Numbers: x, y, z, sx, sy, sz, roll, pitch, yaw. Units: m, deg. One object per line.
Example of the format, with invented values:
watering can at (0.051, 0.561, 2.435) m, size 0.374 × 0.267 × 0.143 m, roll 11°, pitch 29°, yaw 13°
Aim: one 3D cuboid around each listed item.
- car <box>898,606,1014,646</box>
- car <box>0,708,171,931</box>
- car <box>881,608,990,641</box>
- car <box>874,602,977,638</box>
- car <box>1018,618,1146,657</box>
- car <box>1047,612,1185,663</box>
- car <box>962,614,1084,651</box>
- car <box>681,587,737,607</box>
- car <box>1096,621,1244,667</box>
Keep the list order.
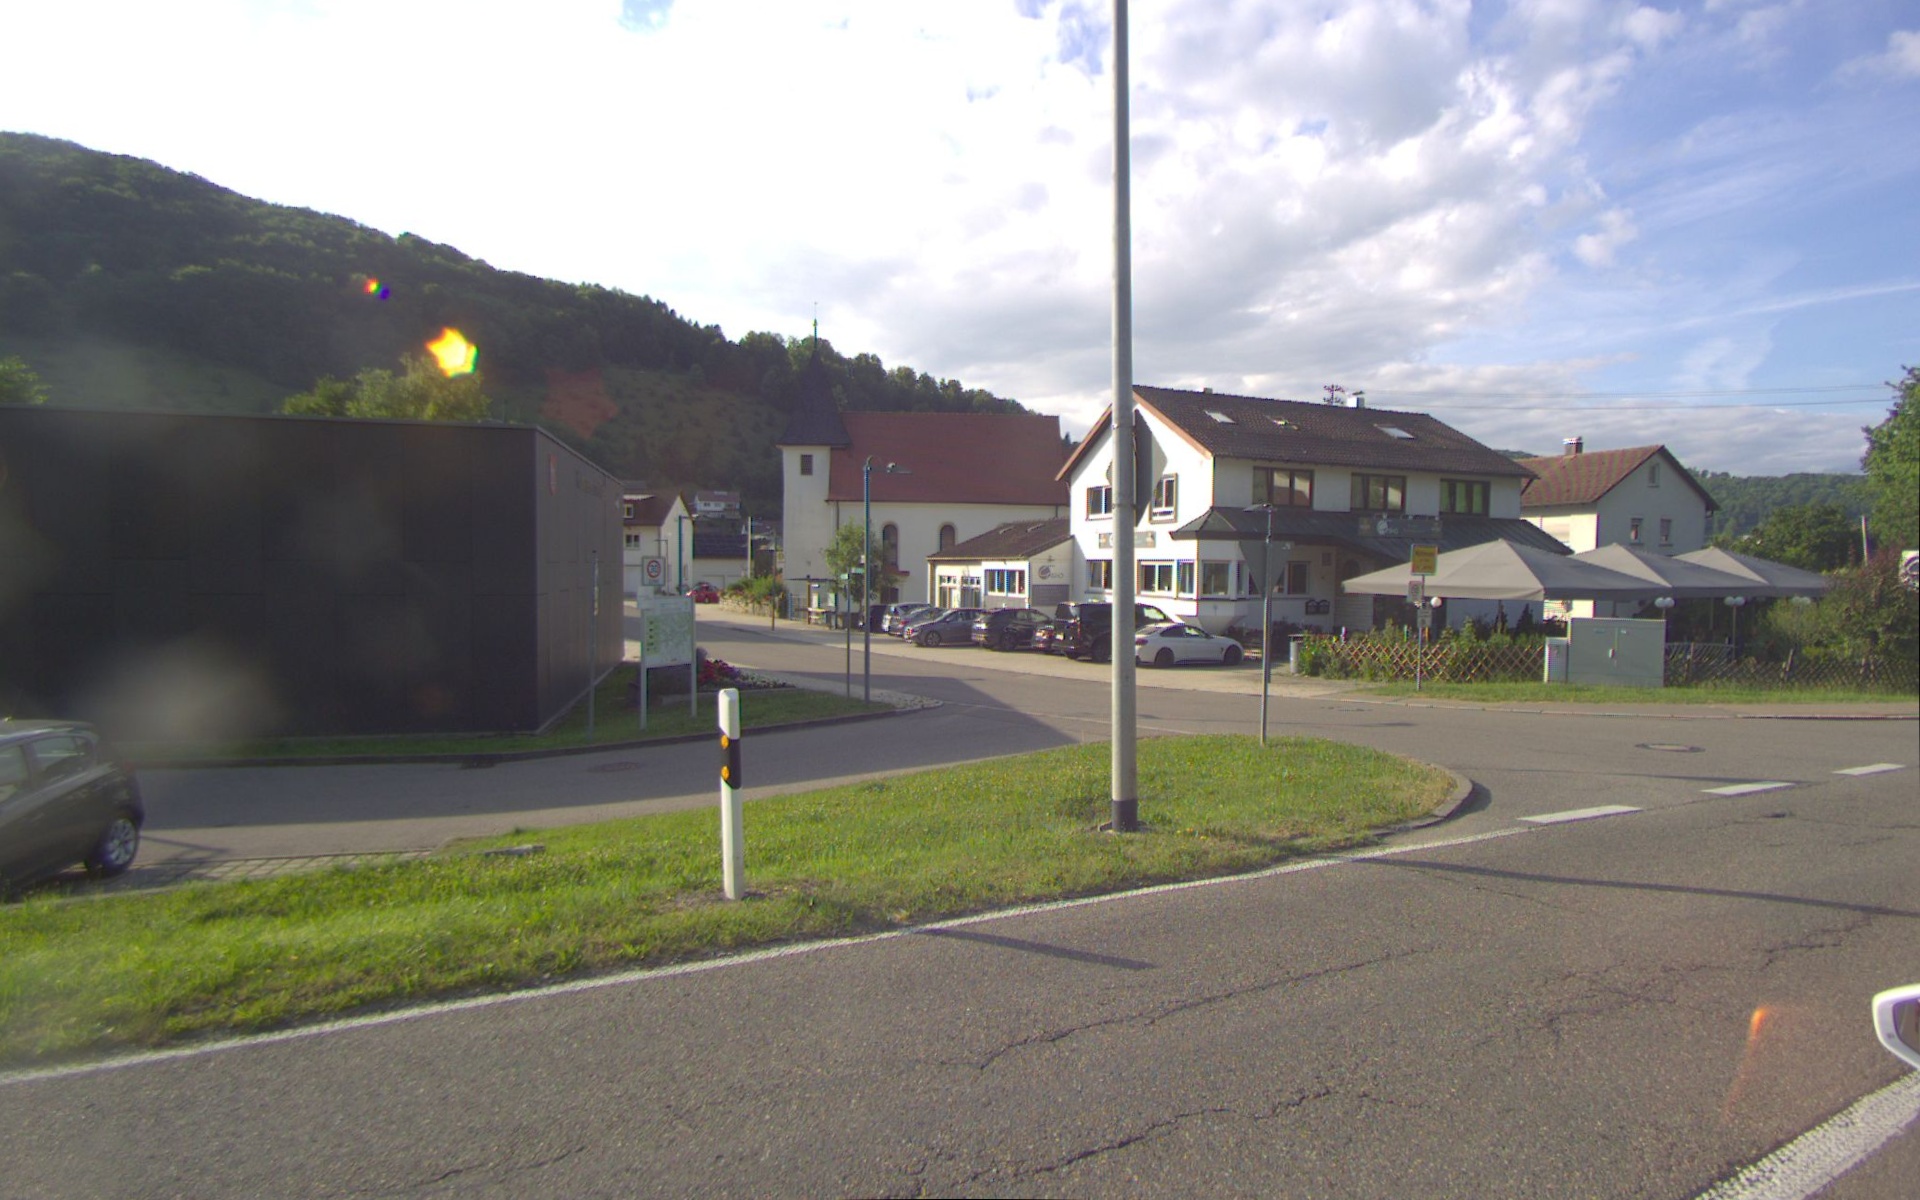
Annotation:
car at (-0.168, 1.098, 42.311) m, size 4.518 × 1.618 × 1.986 m, roll 1°, pitch -1°, yaw -27°
car at (-8.484, 1.822, 8.018) m, size 1.801 × 1.555 × 3.992 m, roll 1°, pitch -1°, yaw -12°
car at (-1.107, 1.093, 45.474) m, size 4.518 × 1.431 × 1.986 m, roll 1°, pitch -1°, yaw -27°
car at (-1.649, 0.978, 48.072) m, size 4.518 × 1.665 × 1.986 m, roll 1°, pitch -1°, yaw -27°
car at (4.664, 1.397, 38.237) m, size 4.518 × 1.408 × 1.986 m, roll 1°, pitch -1°, yaw -27°
car at (5.472, 1.291, 35.122) m, size 4.518 × 1.707 × 1.986 m, roll 1°, pitch -1°, yaw -27°
car at (2.549, 1.279, 40.168) m, size 4.518 × 1.431 × 1.986 m, roll 1°, pitch -1°, yaw -27°
car at (-20.157, -0.214, 80.643) m, size 3.956 × 1.528 × 1.982 m, roll 0°, pitch 0°, yaw -33°
car at (6.869, 1.412, 32.842) m, size 4.518 × 1.408 × 1.986 m, roll 1°, pitch -1°, yaw -27°
